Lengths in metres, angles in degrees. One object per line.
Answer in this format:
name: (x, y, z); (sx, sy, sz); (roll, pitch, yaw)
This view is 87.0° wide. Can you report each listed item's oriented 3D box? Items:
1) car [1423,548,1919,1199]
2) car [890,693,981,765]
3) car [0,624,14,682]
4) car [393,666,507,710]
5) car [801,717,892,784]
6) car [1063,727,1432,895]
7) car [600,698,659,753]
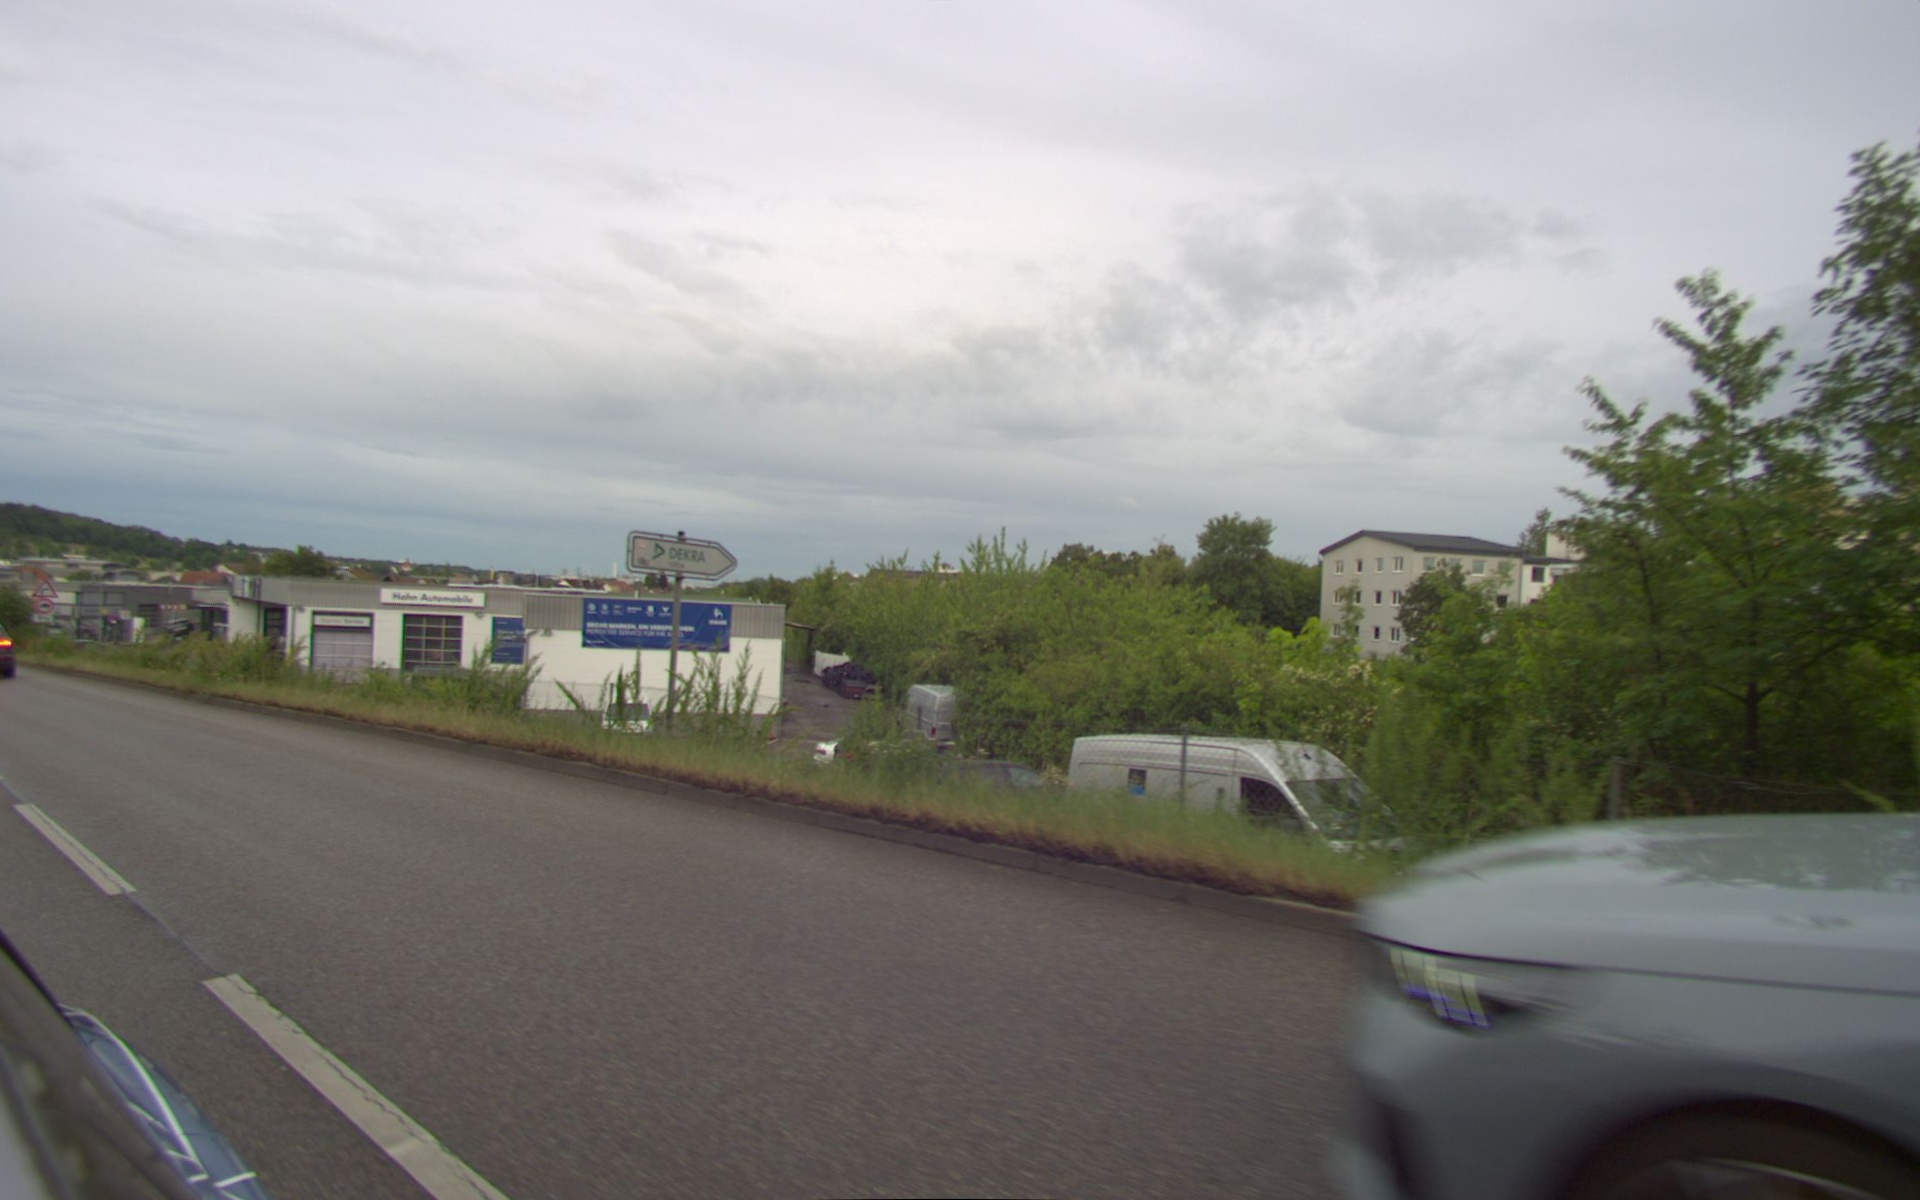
car: (3.237, 0.672, 1.011); (4.725, 1.515, 1.842); (-1, -2, 41)
car: (-1.168, 5.302, 42.405); (1.951, 2.480, 6.615); (5, -5, -17)
car: (-28.264, 1.480, 28.531); (4.411, 1.598, 1.850); (-2, -2, 40)
car: (-25.089, 4.358, 49.977); (4.565, 1.817, 1.871); (5, -6, -11)
car: (-3.645, 4.673, 31.865); (1.836, 1.705, 4.655); (5, -6, -18)
car: (3.862, 2.845, 14.493); (1.957, 1.704, 4.939); (8, -7, -34)
car: (-12.400, 4.652, 37.997); (1.836, 1.817, 4.655); (5, -6, -18)
